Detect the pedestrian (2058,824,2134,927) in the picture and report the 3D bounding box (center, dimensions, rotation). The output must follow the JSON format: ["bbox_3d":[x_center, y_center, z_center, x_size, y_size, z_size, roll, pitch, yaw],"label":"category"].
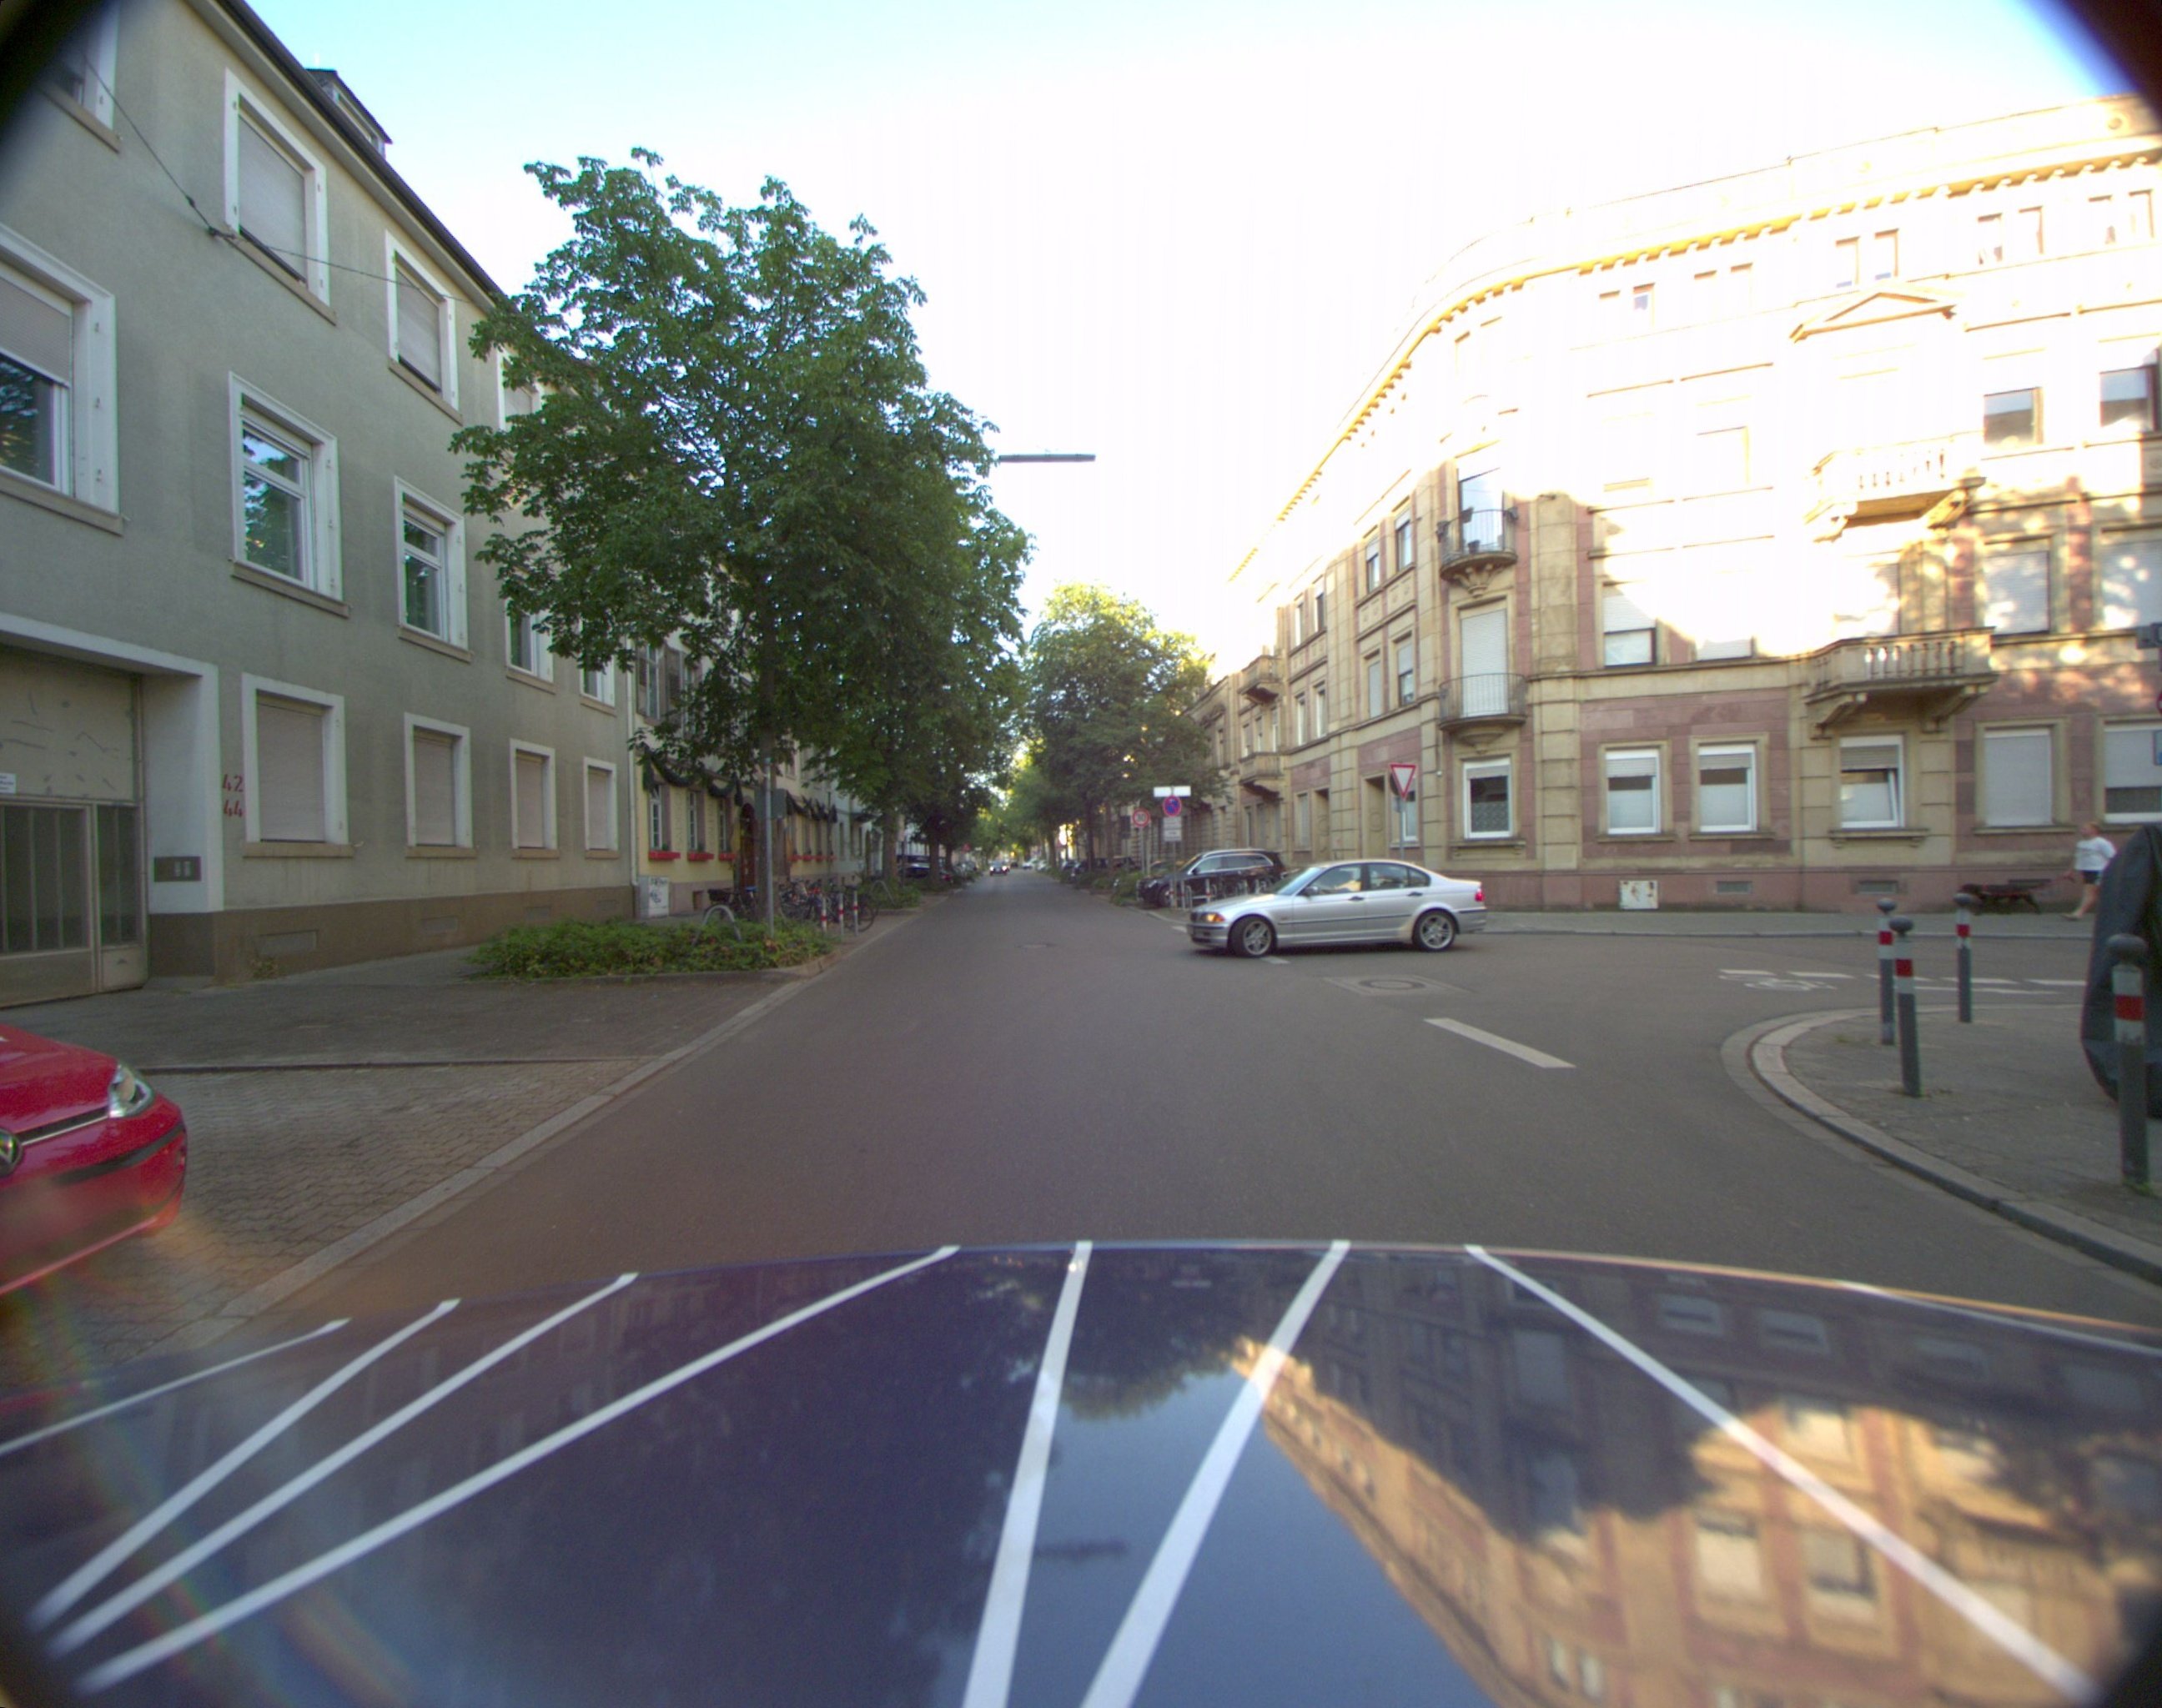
[{"bbox_3d":[17.559,0.372,13.151,0.567,1.733,0.551,0,1,16],"label":"pedestrian"}]

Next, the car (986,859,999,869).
[{"bbox_3d":[-13.145,1.451,112.928,1.828,1.364,3.998,-1,0,-5],"label":"car"}]

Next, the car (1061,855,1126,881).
[{"bbox_3d":[0.853,0.985,53.990,4.444,1.728,1.776,-1,0,-4],"label":"car"}]

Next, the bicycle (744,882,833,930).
[{"bbox_3d":[-7.393,1.304,19.271,2.042,1.139,0.421,-1,0,-6],"label":"bicycle"}]

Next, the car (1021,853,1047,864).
[{"bbox_3d":[-7.886,0.794,127.524,4.008,1.753,1.994,-1,0,-40],"label":"car"}]

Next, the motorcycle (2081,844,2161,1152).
[{"bbox_3d":[6.452,0.714,4.213,2.165,1.546,0.668,-1,0,-26],"label":"motorcycle"}]

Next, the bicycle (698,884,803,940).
[{"bbox_3d":[-7.111,1.245,16.383,2.041,1.139,0.446,-1,0,-2],"label":"bicycle"}]

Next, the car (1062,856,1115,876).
[{"bbox_3d":[0.551,0.910,59.614,4.032,1.474,1.776,-1,0,-4],"label":"car"}]

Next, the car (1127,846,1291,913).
[{"bbox_3d":[3.842,0.733,23.185,4.590,1.728,1.775,-3,1,-4],"label":"car"}]

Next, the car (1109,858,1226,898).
[{"bbox_3d":[3.456,0.935,30.852,4.444,1.478,1.776,-1,0,-4],"label":"car"}]

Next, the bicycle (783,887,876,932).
[{"bbox_3d":[-6.012,1.330,18.230,2.042,0.998,0.421,-1,0,-6],"label":"bicycle"}]

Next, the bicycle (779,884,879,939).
[{"bbox_3d":[-5.607,1.267,16.938,2.041,1.139,0.446,-1,0,-5],"label":"bicycle"}]

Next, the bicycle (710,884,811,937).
[{"bbox_3d":[-7.261,1.270,17.258,2.042,1.139,0.421,-1,0,-6],"label":"bicycle"}]

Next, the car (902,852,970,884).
[{"bbox_3d":[-9.992,0.948,52.651,4.444,2.110,1.776,-1,0,-4],"label":"car"}]

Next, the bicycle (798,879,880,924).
[{"bbox_3d":[-6.488,1.257,20.420,2.042,1.139,0.421,-1,0,-6],"label":"bicycle"}]

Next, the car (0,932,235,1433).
[{"bbox_3d":[-5.132,1.056,2.039,3.667,1.467,1.565,0,0,-7],"label":"car"}]

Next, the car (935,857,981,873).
[{"bbox_3d":[-12.680,1.132,78.530,4.444,1.603,1.776,-1,0,-4],"label":"car"}]

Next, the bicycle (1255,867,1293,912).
[{"bbox_3d":[5.148,0.917,20.346,0.364,1.083,1.869,-3,1,-5],"label":"bicycle"}]

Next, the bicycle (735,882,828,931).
[{"bbox_3d":[-7.305,1.272,18.571,2.042,1.139,0.421,-1,0,-6],"label":"bicycle"}]

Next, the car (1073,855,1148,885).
[{"bbox_3d":[1.790,0.969,47.024,4.444,1.728,1.776,-1,0,-4],"label":"car"}]

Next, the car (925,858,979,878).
[{"bbox_3d":[-11.246,1.227,66.238,4.444,1.603,1.776,-1,0,-4],"label":"car"}]

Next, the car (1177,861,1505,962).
[{"bbox_3d":[3.840,0.843,11.706,4.468,1.395,1.682,0,-1,-2],"label":"car"}]

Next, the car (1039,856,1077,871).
[{"bbox_3d":[-2.826,1.170,92.376,4.444,1.638,1.776,-1,0,-4],"label":"car"}]

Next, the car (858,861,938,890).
[{"bbox_3d":[-10.926,1.298,45.611,4.444,1.603,1.776,-1,0,-4],"label":"car"}]

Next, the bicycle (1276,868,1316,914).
[{"bbox_3d":[5.762,0.963,20.410,0.364,1.083,1.869,-3,1,-5],"label":"bicycle"}]

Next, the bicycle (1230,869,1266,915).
[{"bbox_3d":[4.449,0.993,20.316,0.364,1.083,1.869,-3,1,-5],"label":"bicycle"}]

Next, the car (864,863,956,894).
[{"bbox_3d":[-8.960,1.265,40.101,4.444,1.496,1.776,-1,0,-4],"label":"car"}]

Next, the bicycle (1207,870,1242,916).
[{"bbox_3d":[3.783,0.999,20.147,0.364,1.083,1.869,-3,1,-5],"label":"bicycle"}]
